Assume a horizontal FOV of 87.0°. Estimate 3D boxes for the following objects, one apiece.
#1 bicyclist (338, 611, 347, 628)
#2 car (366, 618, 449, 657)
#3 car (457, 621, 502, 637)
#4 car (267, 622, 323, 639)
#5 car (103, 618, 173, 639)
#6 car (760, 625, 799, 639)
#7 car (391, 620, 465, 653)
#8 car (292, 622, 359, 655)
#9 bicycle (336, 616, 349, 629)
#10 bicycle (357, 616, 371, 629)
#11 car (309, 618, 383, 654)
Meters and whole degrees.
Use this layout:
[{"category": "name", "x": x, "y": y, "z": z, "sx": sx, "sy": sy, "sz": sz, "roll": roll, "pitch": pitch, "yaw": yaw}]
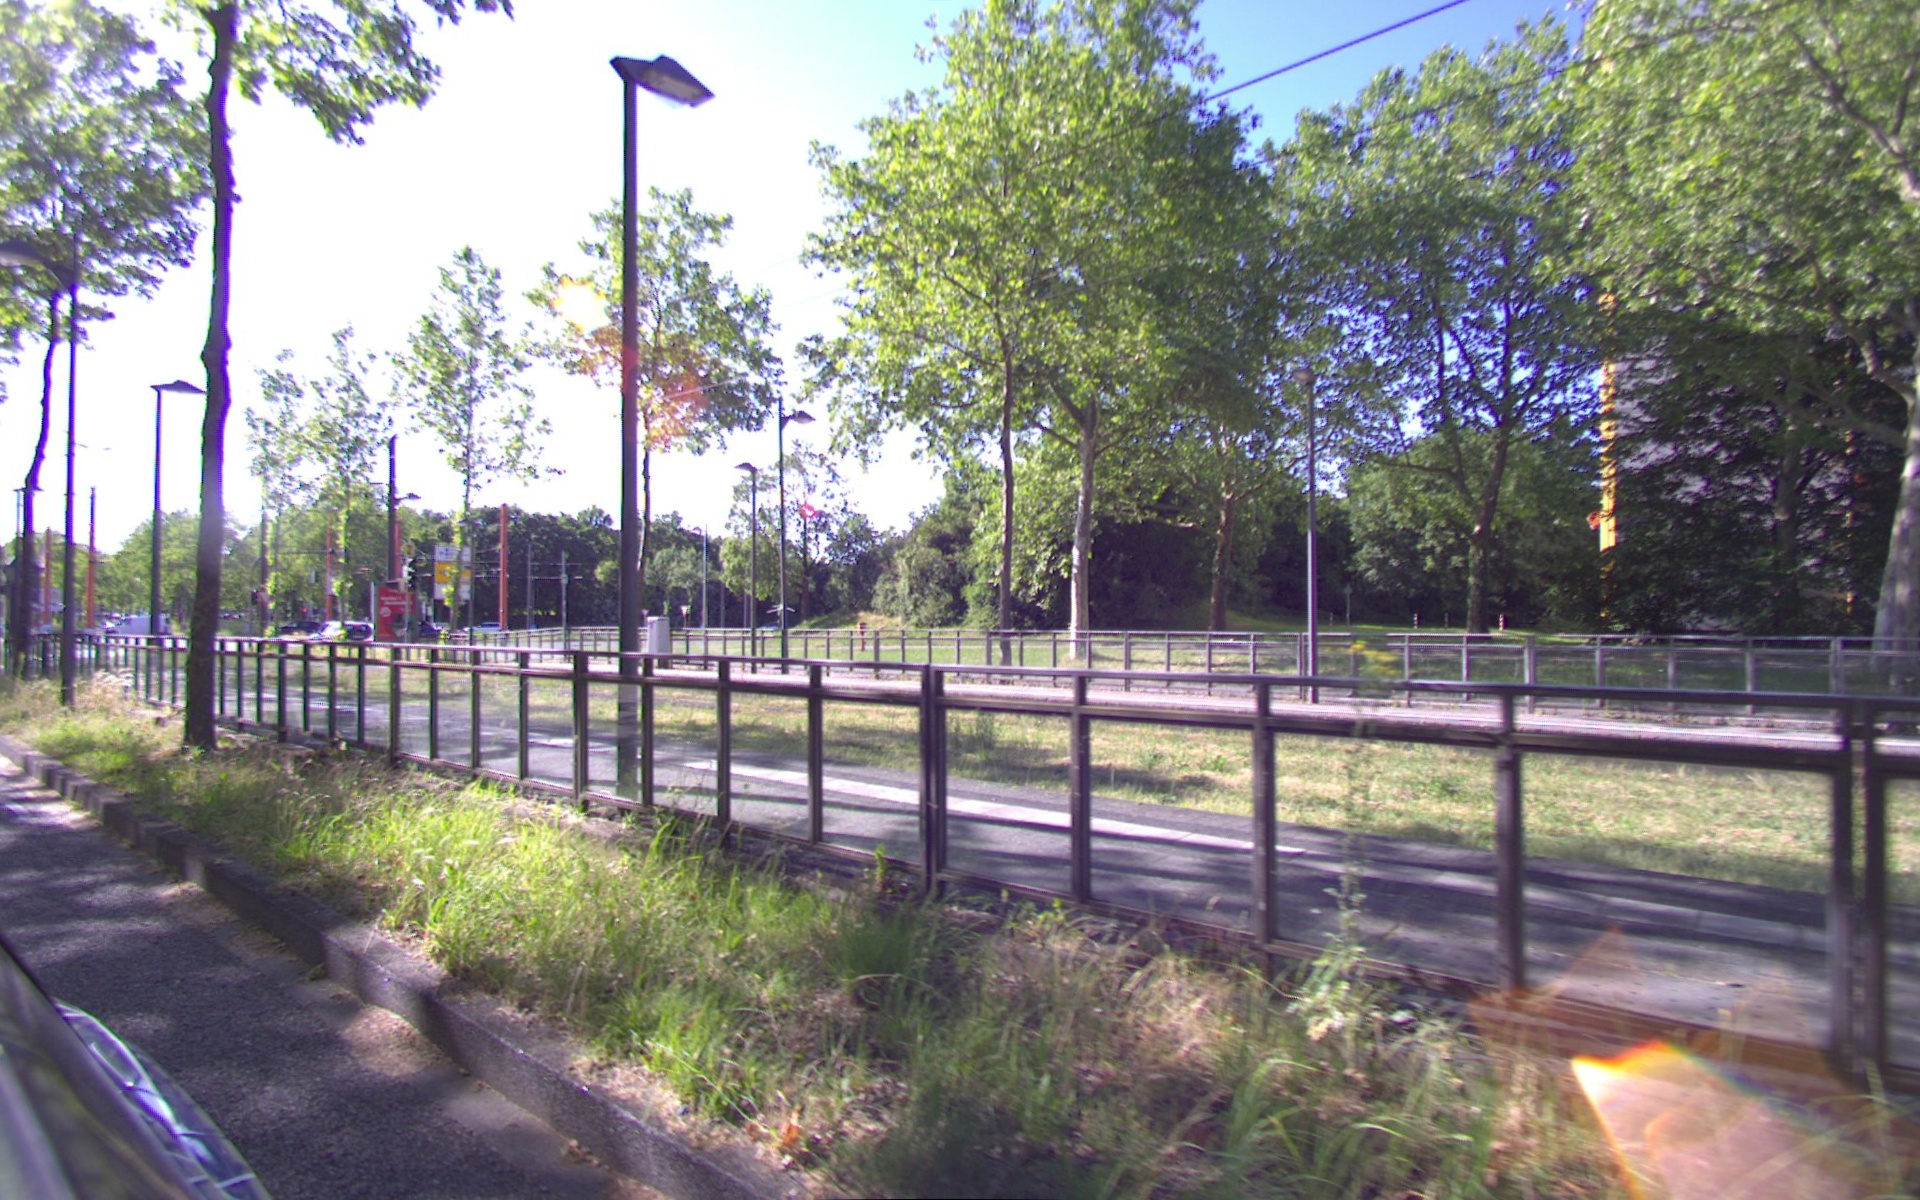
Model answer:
[{"category": "bicyclist", "x": -53.903, "y": 1.706, "z": 88.336, "sx": 0.778, "sy": 1.458, "sz": 0.493, "roll": -1, "pitch": -2, "yaw": 43}, {"category": "car", "x": -23.892, "y": 1.578, "z": 43.709, "sx": 4.265, "sy": 1.620, "sz": 1.775, "roll": -1, "pitch": -2, "yaw": 41}, {"category": "car", "x": -47.503, "y": 2.885, "z": 100.188, "sx": 3.930, "sy": 1.522, "sz": 1.806, "roll": 1, "pitch": -2, "yaw": -23}, {"category": "car", "x": -60.536, "y": 2.748, "z": 92.214, "sx": 3.930, "sy": 1.522, "sz": 1.806, "roll": 1, "pitch": -2, "yaw": -23}, {"category": "car", "x": -73.135, "y": 2.512, "z": 90.115, "sx": 4.478, "sy": 1.849, "sz": 1.806, "roll": 1, "pitch": -2, "yaw": -23}, {"category": "car", "x": -19.897, "y": 3.489, "z": 111.475, "sx": 3.930, "sy": 1.522, "sz": 1.806, "roll": 1, "pitch": -2, "yaw": -23}, {"category": "car", "x": -25.847, "y": 1.747, "z": 49.099, "sx": 4.265, "sy": 1.522, "sz": 1.775, "roll": -1, "pitch": -2, "yaw": 41}, {"category": "car", "x": -32.449, "y": 1.938, "z": 51.743, "sx": 4.231, "sy": 1.629, "sz": 1.775, "roll": -2, "pitch": -2, "yaw": 41}, {"category": "bicycle", "x": -53.903, "y": 1.957, "z": 88.331, "sx": 1.800, "sy": 1.116, "sz": 0.493, "roll": -1, "pitch": -2, "yaw": 43}, {"category": "bicycle", "x": -52.755, "y": 1.979, "z": 89.582, "sx": 1.800, "sy": 1.116, "sz": 0.554, "roll": -1, "pitch": -2, "yaw": 43}, {"category": "car", "x": -28.997, "y": 1.664, "z": 47.776, "sx": 4.231, "sy": 1.629, "sz": 1.775, "roll": -1, "pitch": -2, "yaw": 41}]
